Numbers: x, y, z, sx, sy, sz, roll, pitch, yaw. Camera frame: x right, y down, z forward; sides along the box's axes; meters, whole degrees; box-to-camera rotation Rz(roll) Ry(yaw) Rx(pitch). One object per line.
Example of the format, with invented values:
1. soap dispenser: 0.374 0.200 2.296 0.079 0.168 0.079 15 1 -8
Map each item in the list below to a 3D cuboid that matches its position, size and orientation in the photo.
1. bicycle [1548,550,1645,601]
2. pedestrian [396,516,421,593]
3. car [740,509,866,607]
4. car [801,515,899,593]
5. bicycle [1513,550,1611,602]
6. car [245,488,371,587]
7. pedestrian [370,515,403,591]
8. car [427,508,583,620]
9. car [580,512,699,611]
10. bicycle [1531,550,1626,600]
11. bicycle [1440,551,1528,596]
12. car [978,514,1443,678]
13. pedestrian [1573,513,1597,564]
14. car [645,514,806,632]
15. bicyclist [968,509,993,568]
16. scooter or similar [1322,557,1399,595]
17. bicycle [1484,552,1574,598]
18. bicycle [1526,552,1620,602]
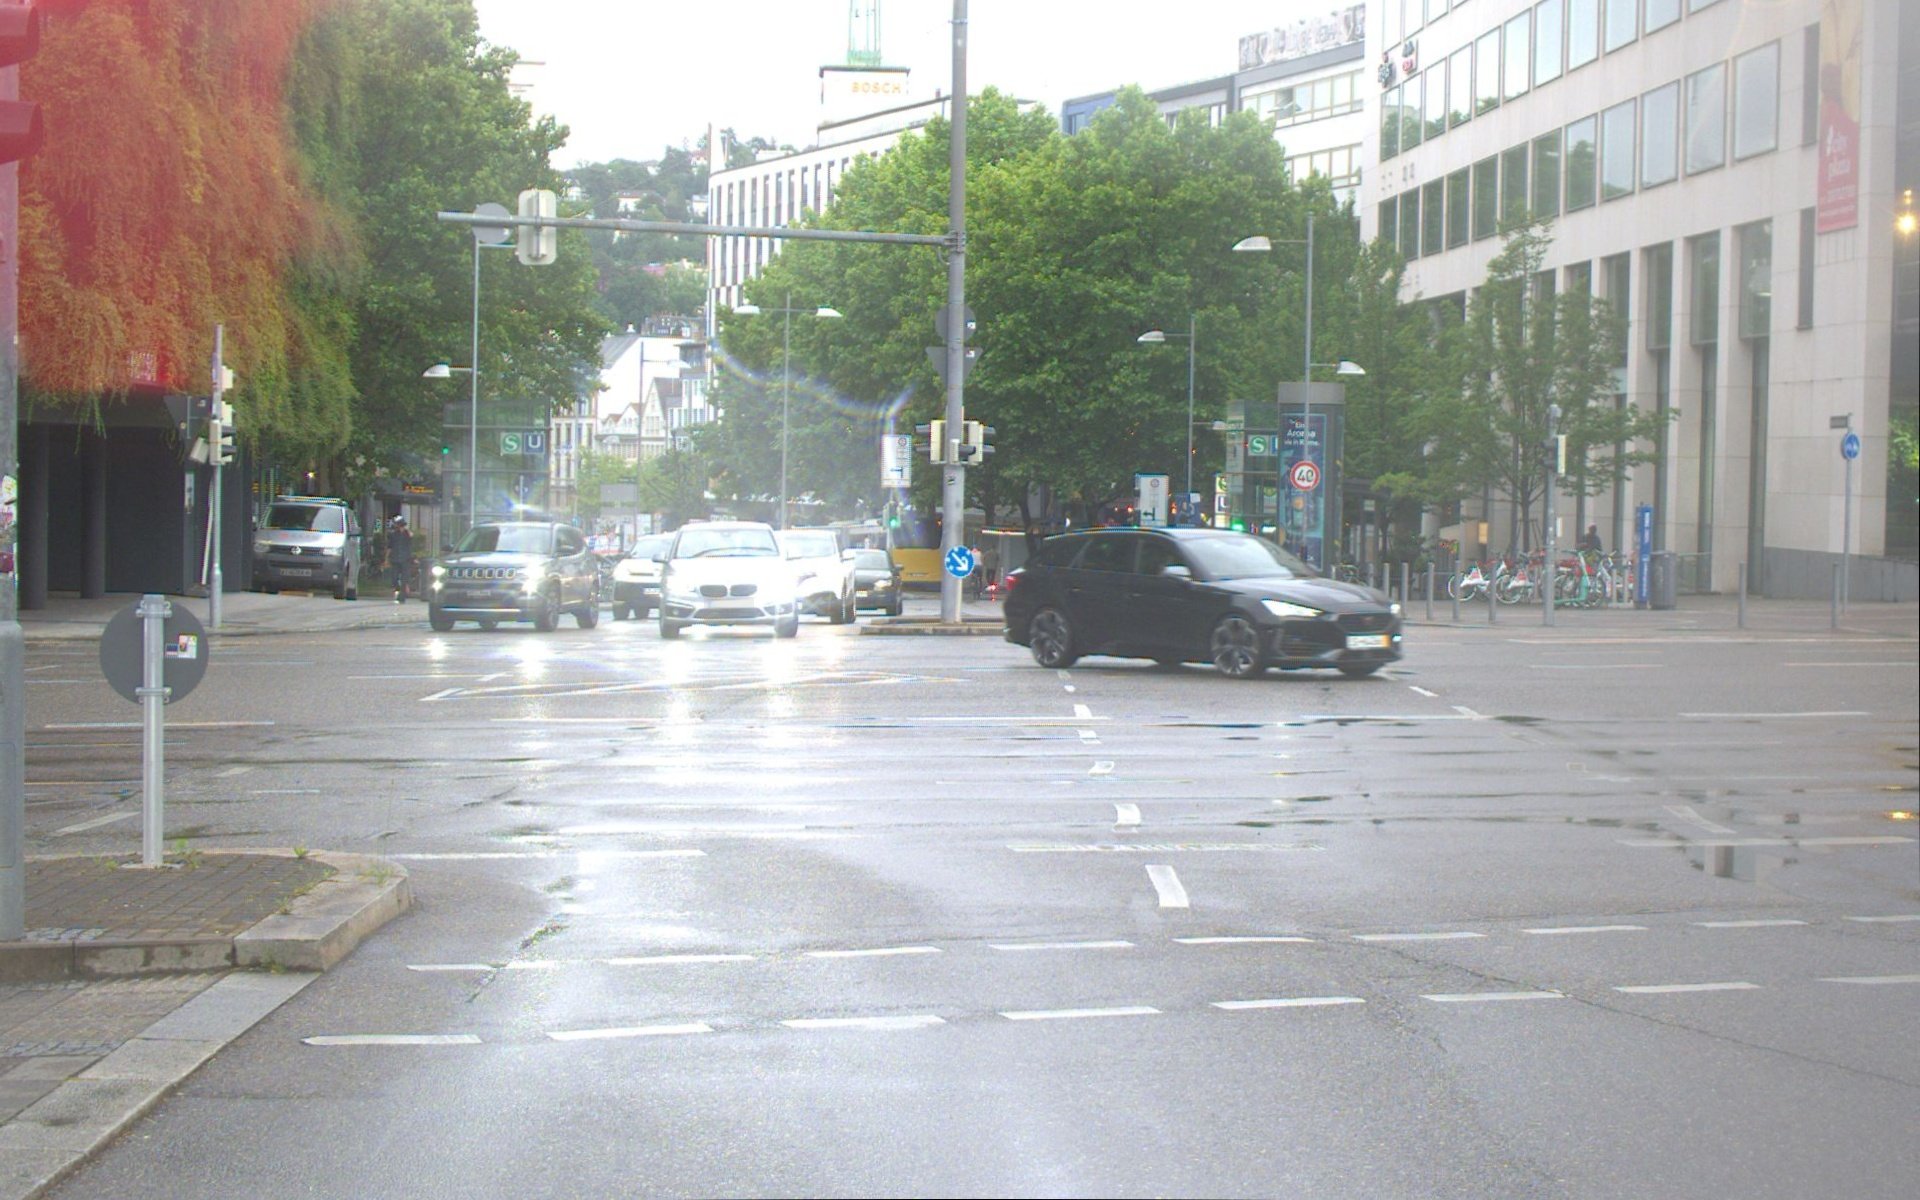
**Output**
1. bicycle: 12.008 -0.466 64.865 1.799 0.931 0.474 1 1 41
2. pedestrian: -11.007 -0.914 68.599 0.436 1.519 0.548 0 1 -5
3. car: -2.632 -0.748 58.500 1.993 1.524 4.556 0 2 -1
4. car: -2.332 -0.999 72.677 1.993 1.524 4.557 0 2 -2
5. bicycle: 11.243 -0.456 64.223 1.799 0.931 0.474 1 1 41
6. car: -12.915 -1.253 68.304 1.993 1.888 4.466 0 1 -5
7. pedestrian: -11.423 -0.936 68.494 0.607 1.519 0.588 0 1 -5
8. car: -6.736 -0.560 51.268 1.993 1.592 4.466 0 1 -4
9. car: -6.157 -0.760 65.623 2.174 1.817 4.645 0 1 -6
10. bicycle: 11.834 -0.480 65.831 1.799 0.931 0.474 1 1 41
11. bicycle: 11.081 -0.556 72.753 1.794 0.931 0.475 0 1 3
12. car: 2.351 -0.097 33.469 1.857 1.443 4.619 -1 2 -39
13. pedestrian: 14.292 -1.408 78.612 0.353 1.169 0.415 -1 1 -42
14. car: -3.129 -0.410 46.709 1.993 1.438 4.556 0 2 -2
15. bicyclist: 0.696 -2.094 117.143 0.791 1.968 1.114 0 1 -3
16. scooter or similar: 9.303 -0.555 79.876 1.745 0.875 0.489 0 1 -19
17. bicycle: 11.733 -0.525 70.905 1.794 0.931 0.475 0 1 3
18. bicycle: 11.862 -0.453 66.577 1.799 0.931 0.474 1 1 41
